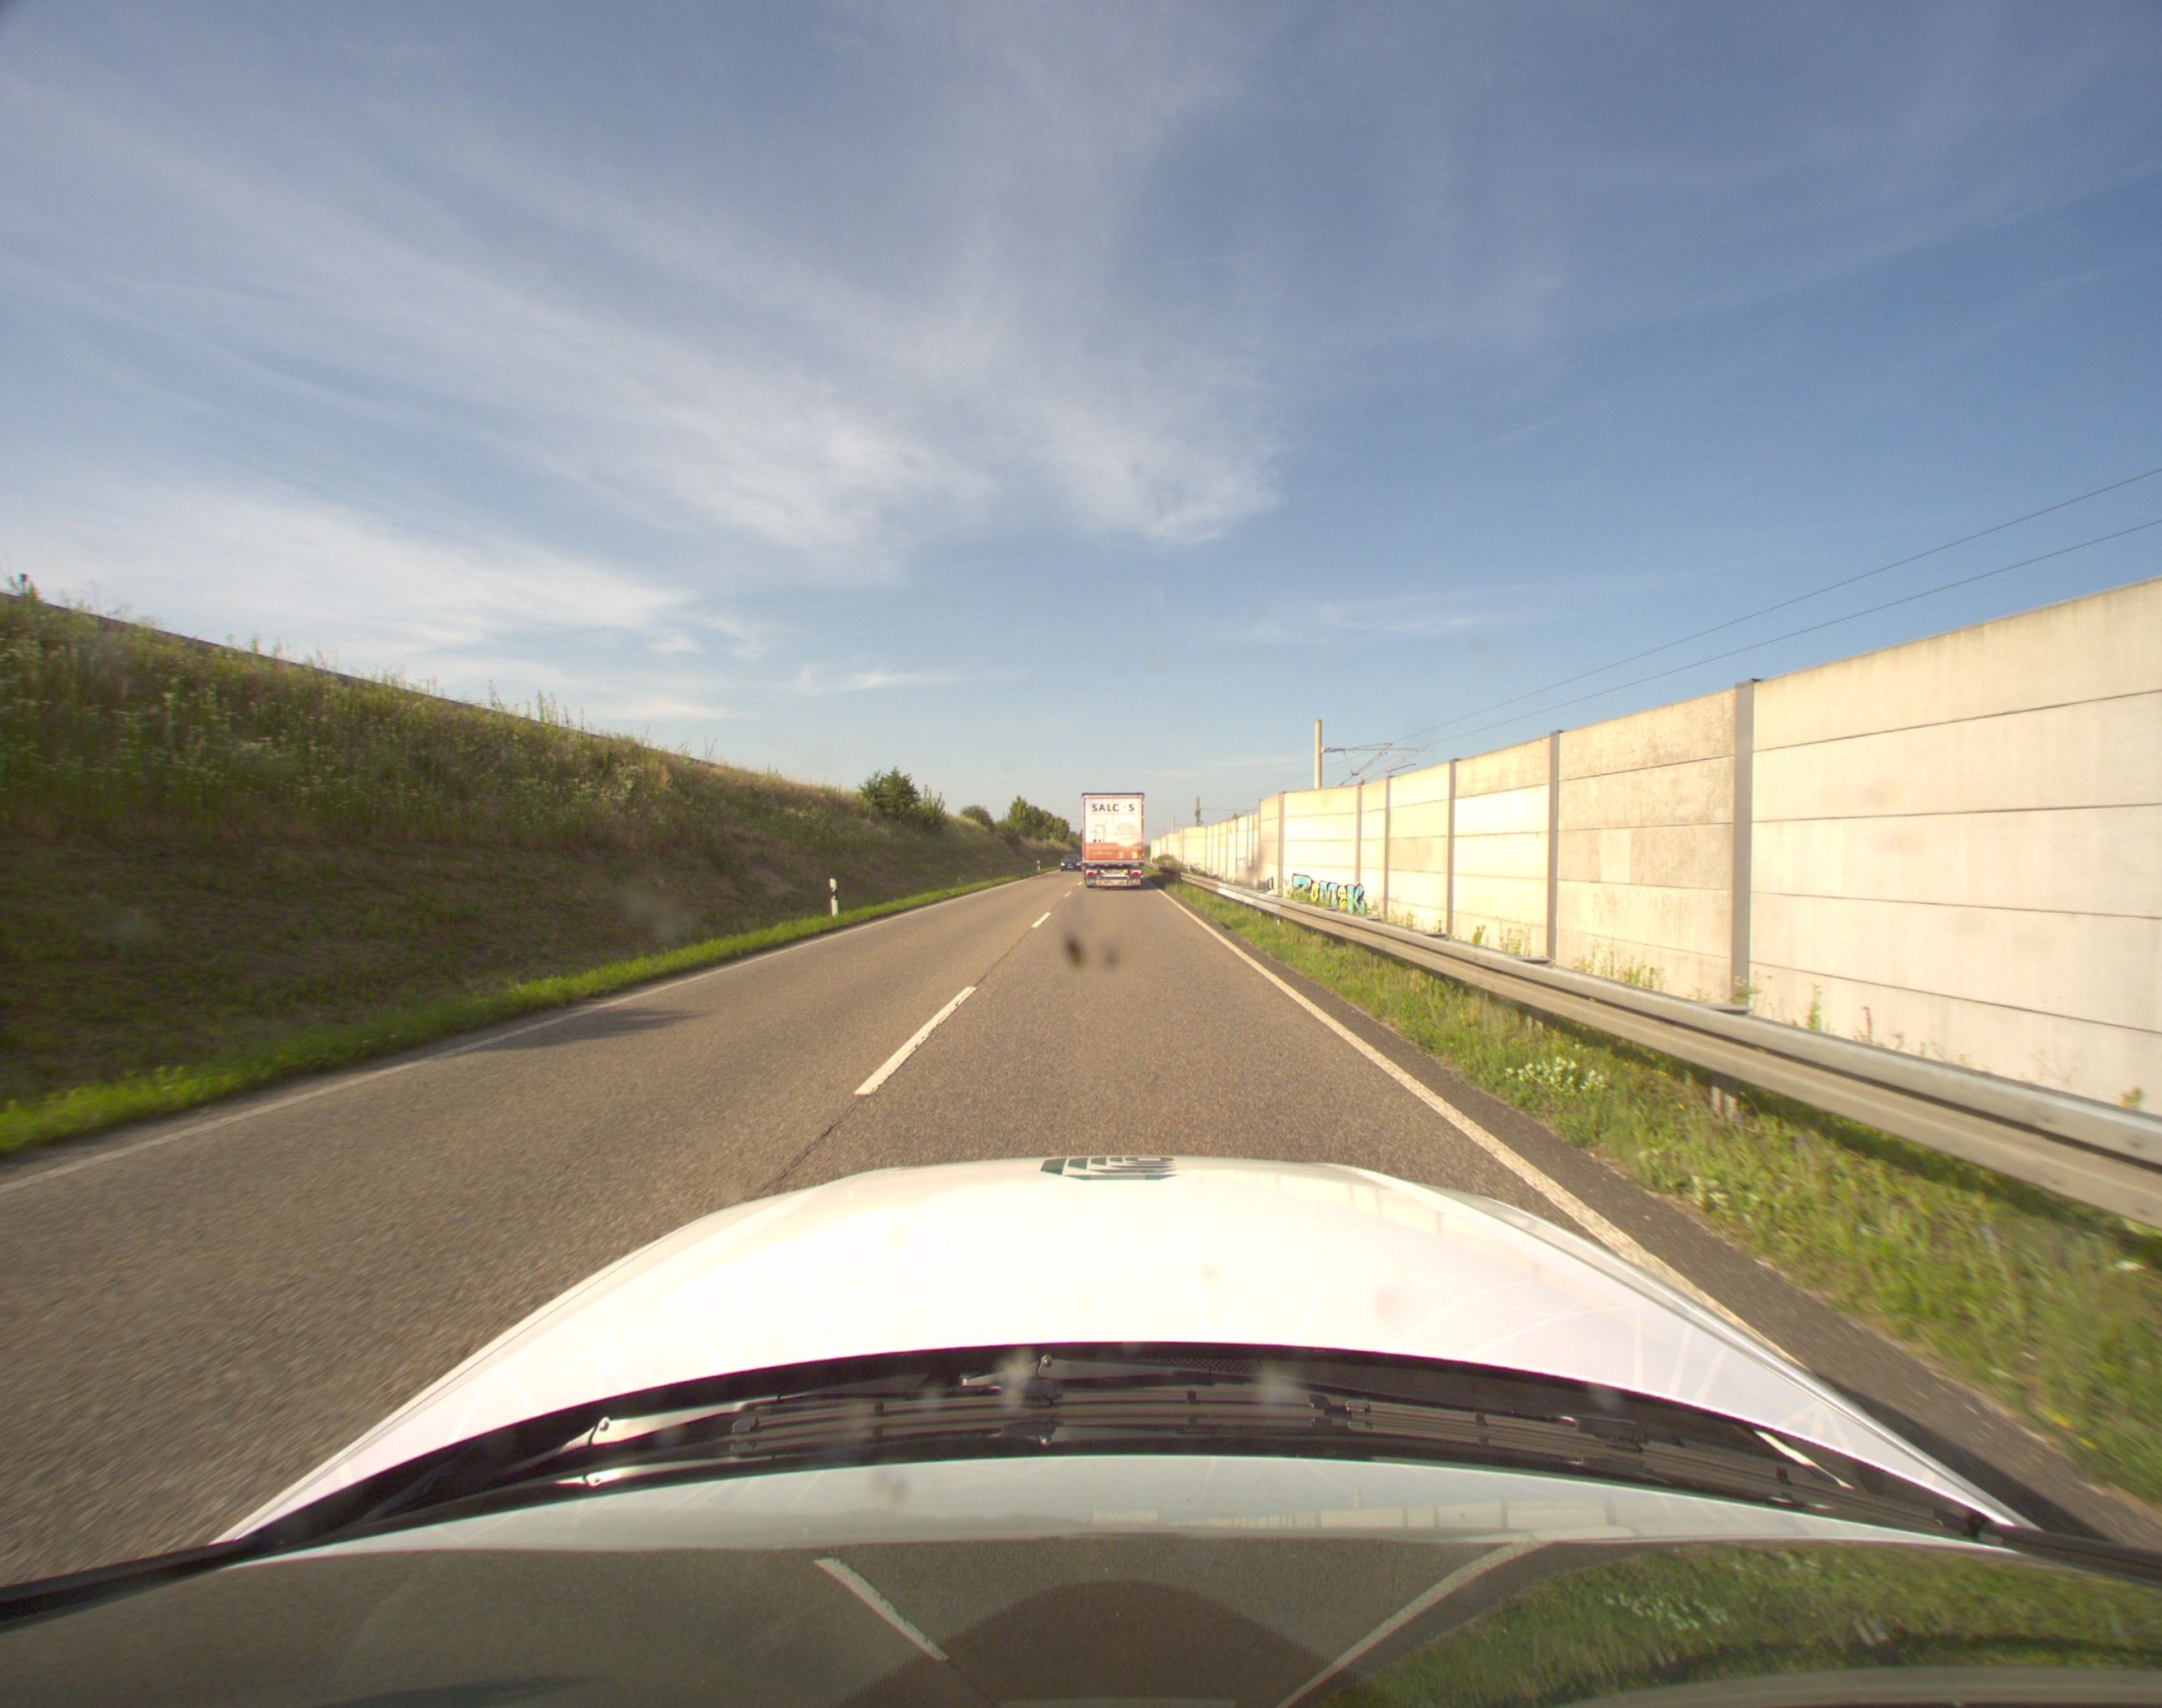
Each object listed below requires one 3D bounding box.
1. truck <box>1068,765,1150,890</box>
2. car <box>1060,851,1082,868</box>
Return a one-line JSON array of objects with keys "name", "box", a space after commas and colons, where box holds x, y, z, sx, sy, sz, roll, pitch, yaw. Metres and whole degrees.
[{"name": "truck", "box": [1.426, -1.090, 39.313, 3.277, 5.090, 12.045, -1, 0, 3]}, {"name": "car", "box": [-0.867, 0.505, 72.743, 1.710, 1.453, 4.020, -1, 0, 2]}]
